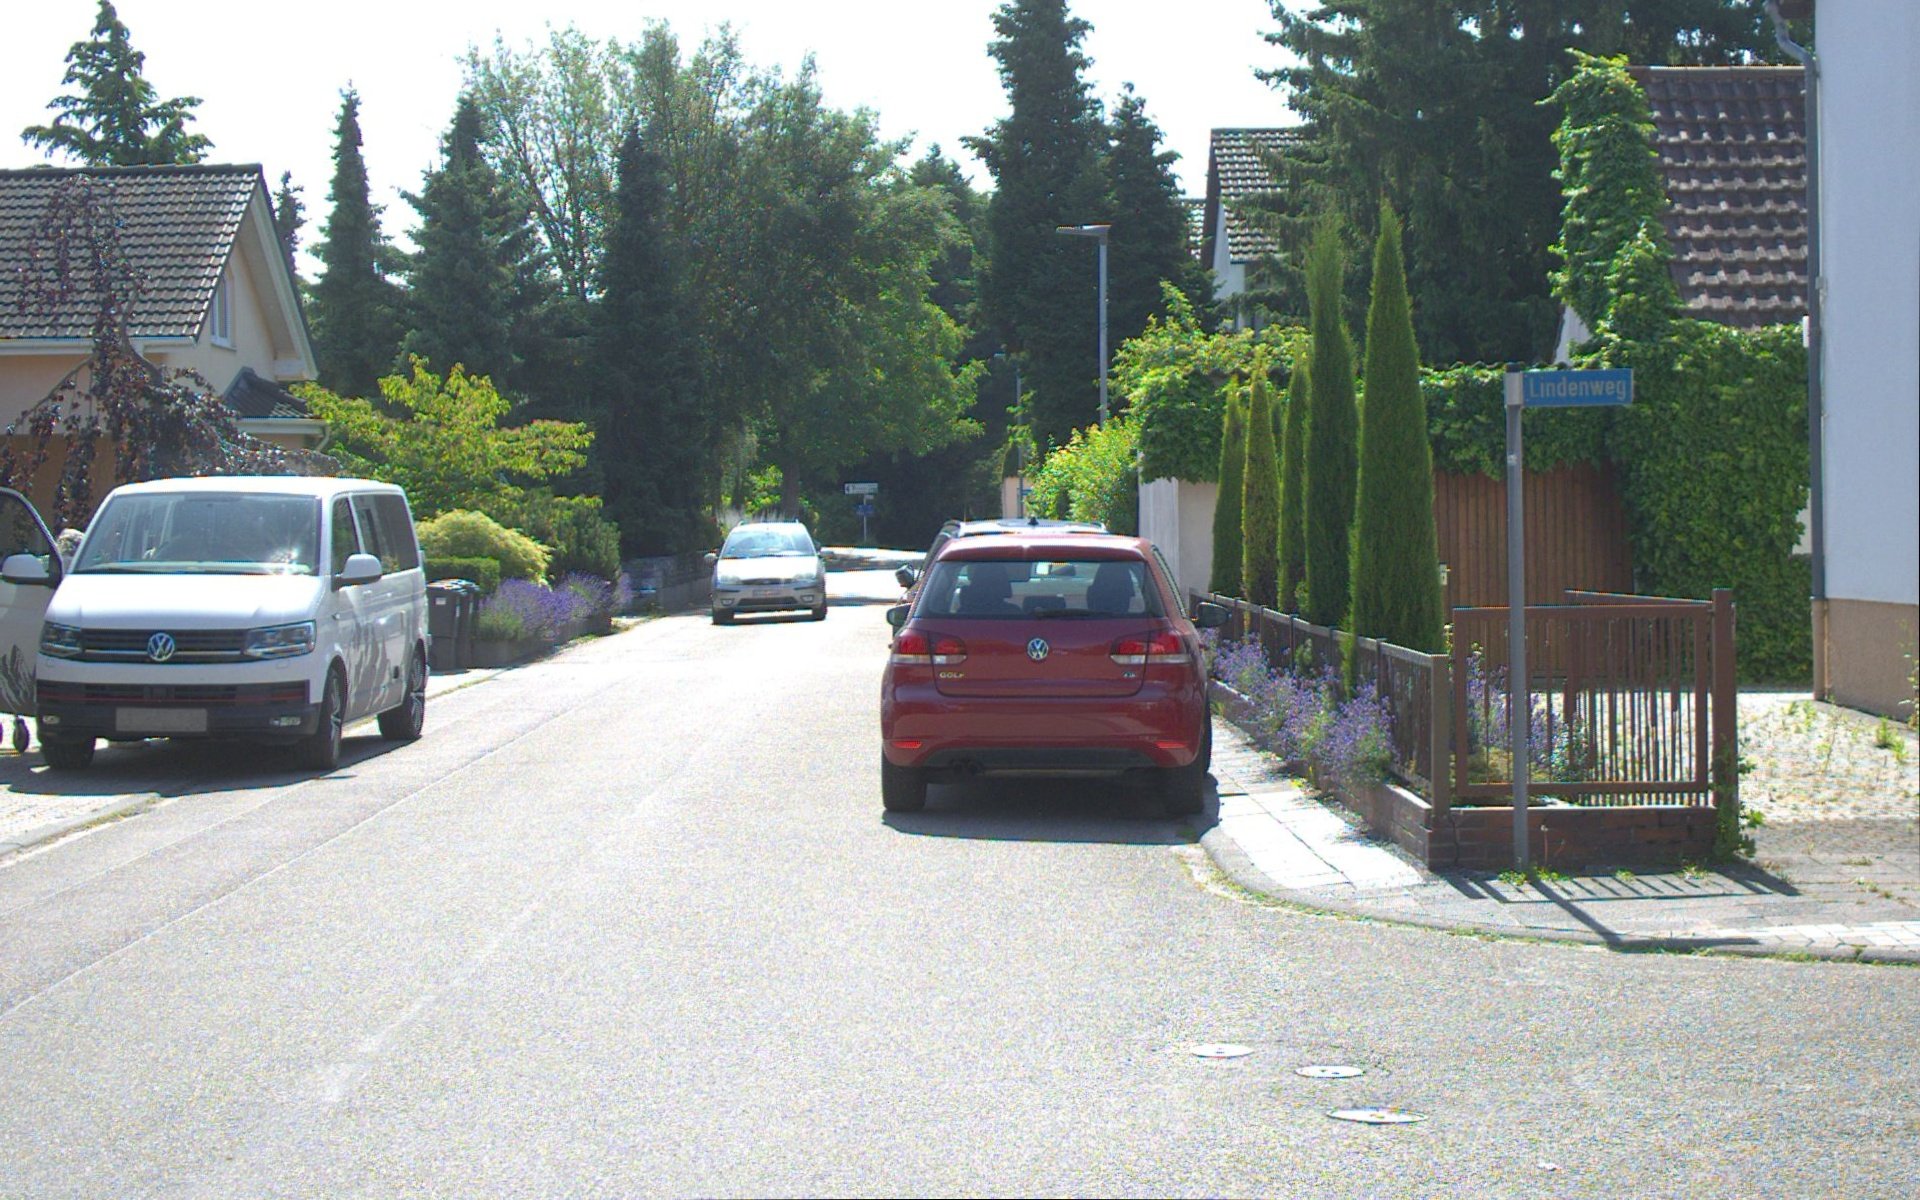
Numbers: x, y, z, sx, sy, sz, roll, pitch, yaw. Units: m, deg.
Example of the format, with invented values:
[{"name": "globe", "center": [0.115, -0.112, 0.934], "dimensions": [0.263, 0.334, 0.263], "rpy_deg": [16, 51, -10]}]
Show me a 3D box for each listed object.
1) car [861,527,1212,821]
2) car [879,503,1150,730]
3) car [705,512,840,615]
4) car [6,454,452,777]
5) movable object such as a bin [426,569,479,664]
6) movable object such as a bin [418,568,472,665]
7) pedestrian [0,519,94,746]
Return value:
[{"name": "car", "center": [0.499, 0.337, 19.629], "dimensions": [1.775, 1.474, 4.000], "rpy_deg": [1, 1, 3]}, {"name": "car", "center": [0.342, 0.075, 26.434], "dimensions": [1.822, 1.610, 4.001], "rpy_deg": [0, 1, -3]}, {"name": "car", "center": [-2.836, -0.588, 52.855], "dimensions": [1.752, 1.482, 4.376], "rpy_deg": [-1, 1, 1]}, {"name": "car", "center": [-4.944, 0.044, 23.990], "dimensions": [1.929, 2.007, 4.896], "rpy_deg": [-1, 1, 1]}, {"name": "movable object such as a bin", "center": [-5.553, 0.176, 37.618], "dimensions": [0.494, 1.021, 0.447], "rpy_deg": [-1, 1, 0]}, {"name": "movable object such as a bin", "center": [-5.561, 0.176, 37.156], "dimensions": [0.494, 1.021, 0.447], "rpy_deg": [-1, 1, 0]}, {"name": "pedestrian", "center": [-6.499, 0.208, 23.820], "dimensions": [0.718, 1.533, 0.641], "rpy_deg": [1, 2, 33]}]
